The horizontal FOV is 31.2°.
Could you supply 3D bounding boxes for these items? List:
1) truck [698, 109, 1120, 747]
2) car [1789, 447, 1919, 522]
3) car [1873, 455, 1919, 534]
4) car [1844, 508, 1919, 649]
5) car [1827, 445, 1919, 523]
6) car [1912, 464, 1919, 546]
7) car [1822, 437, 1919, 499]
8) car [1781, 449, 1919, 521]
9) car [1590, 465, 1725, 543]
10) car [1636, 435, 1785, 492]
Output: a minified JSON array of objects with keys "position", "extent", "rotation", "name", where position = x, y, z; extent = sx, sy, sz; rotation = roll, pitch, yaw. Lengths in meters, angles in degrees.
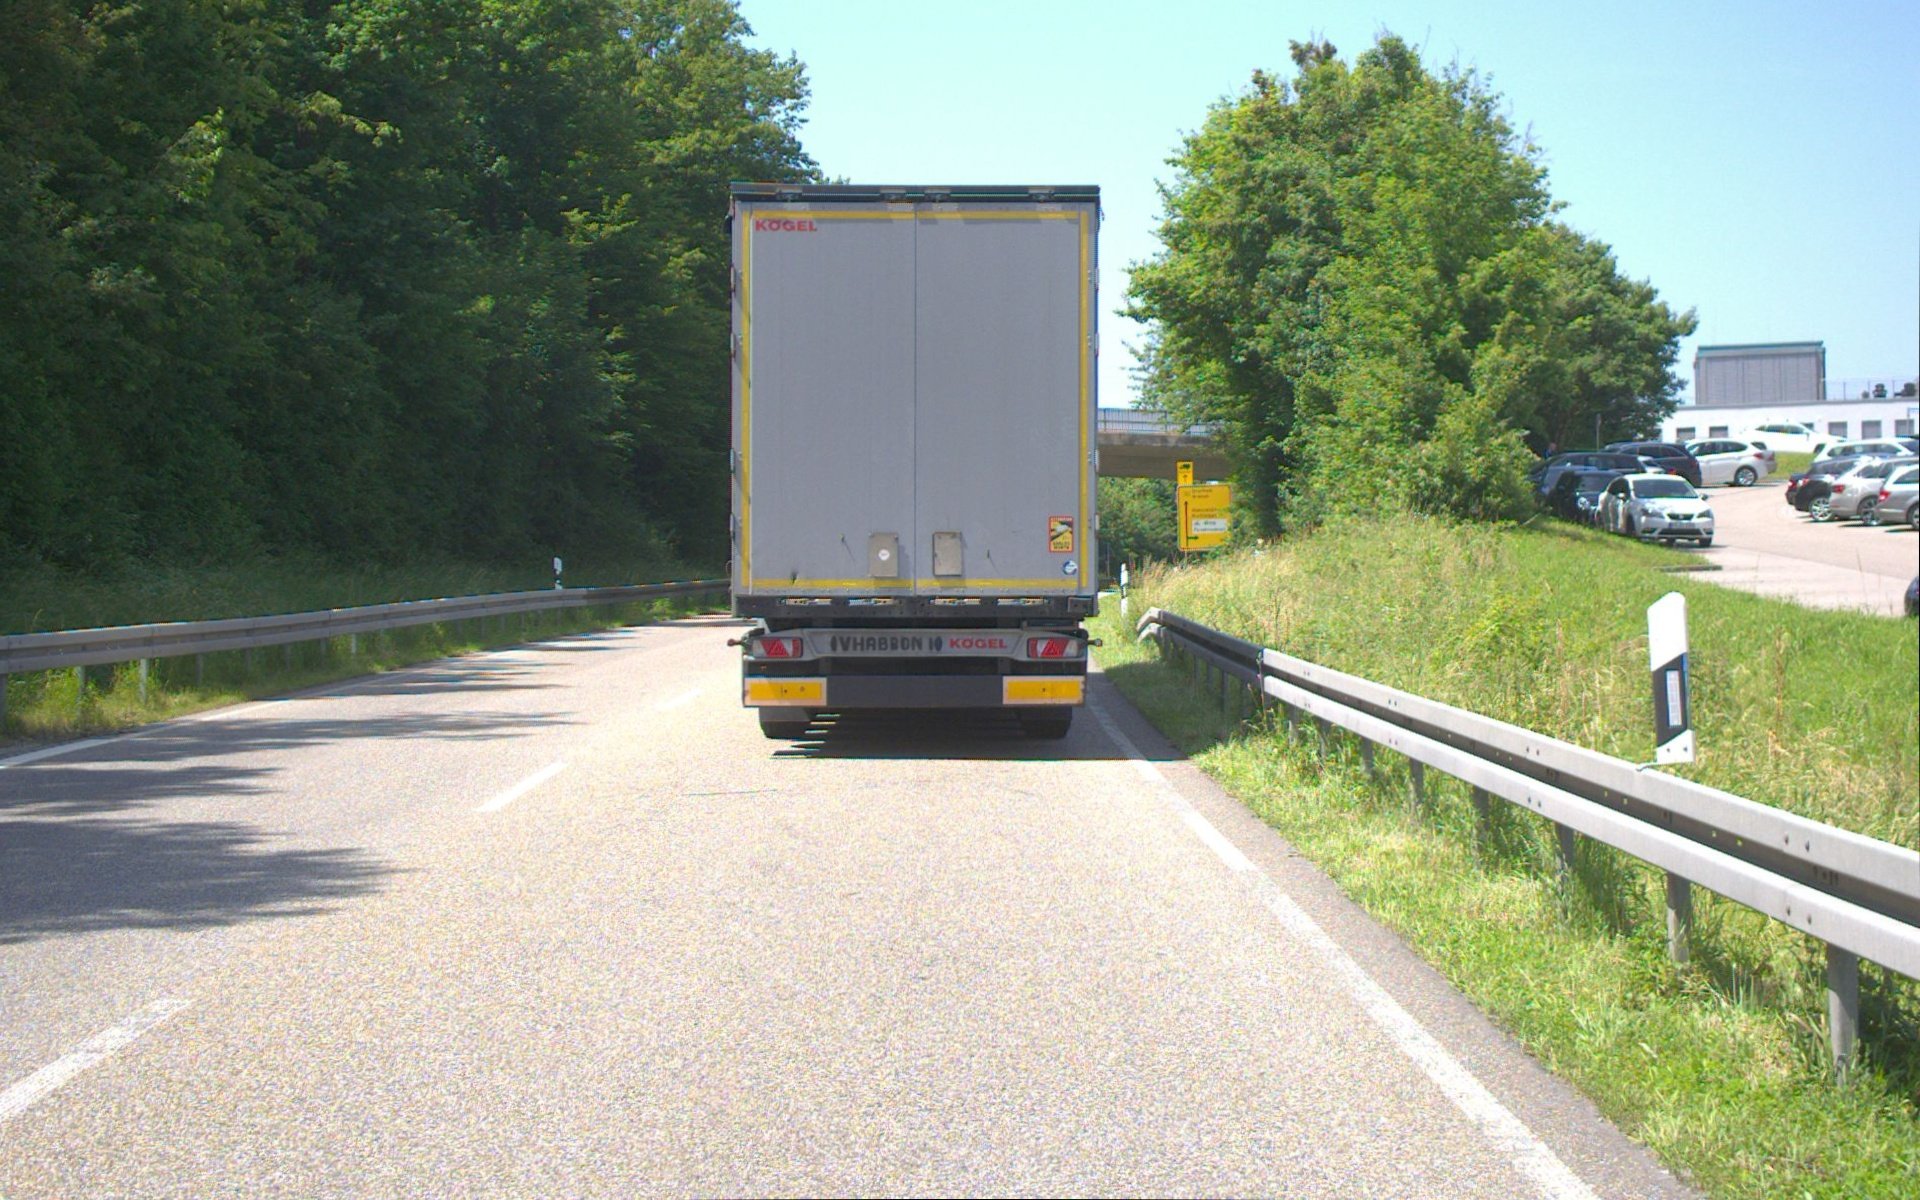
[{"position":[-0.381,-1.278,28.397],"extent":[2.866,4.344,9.789],"rotation":[0,1,0],"name":"truck"},{"position":[21.261,-2.602,78.005],"extent":[4.576,1.623,1.819],"rotation":[1,0,20],"name":"car"},{"position":[21.470,-2.189,71.602],"extent":[4.576,1.623,1.819],"rotation":[1,2,20],"name":"car"},{"position":[13.777,-0.183,44.360],"extent":[4.362,1.680,1.889],"rotation":[2,4,-29],"name":"car"},{"position":[21.360,-2.483,74.850],"extent":[4.576,1.623,1.819],"rotation":[3,3,20],"name":"car"},{"position":[21.476,-1.807,68.653],"extent":[4.576,1.623,1.819],"rotation":[3,3,20],"name":"car"},{"position":[26.320,-3.626,94.816],"extent":[4.580,1.623,1.817],"rotation":[2,1,33],"name":"car"},{"position":[21.795,-2.689,80.986],"extent":[4.576,1.623,1.819],"rotation":[2,1,20],"name":"car"},{"position":[14.208,-1.982,70.189],"extent":[1.624,1.349,3.712],"rotation":[4,3,-5],"name":"car"},{"position":[23.639,-4.323,108.290],"extent":[4.362,1.679,1.889],"rotation":[-2,6,-29],"name":"car"}]
